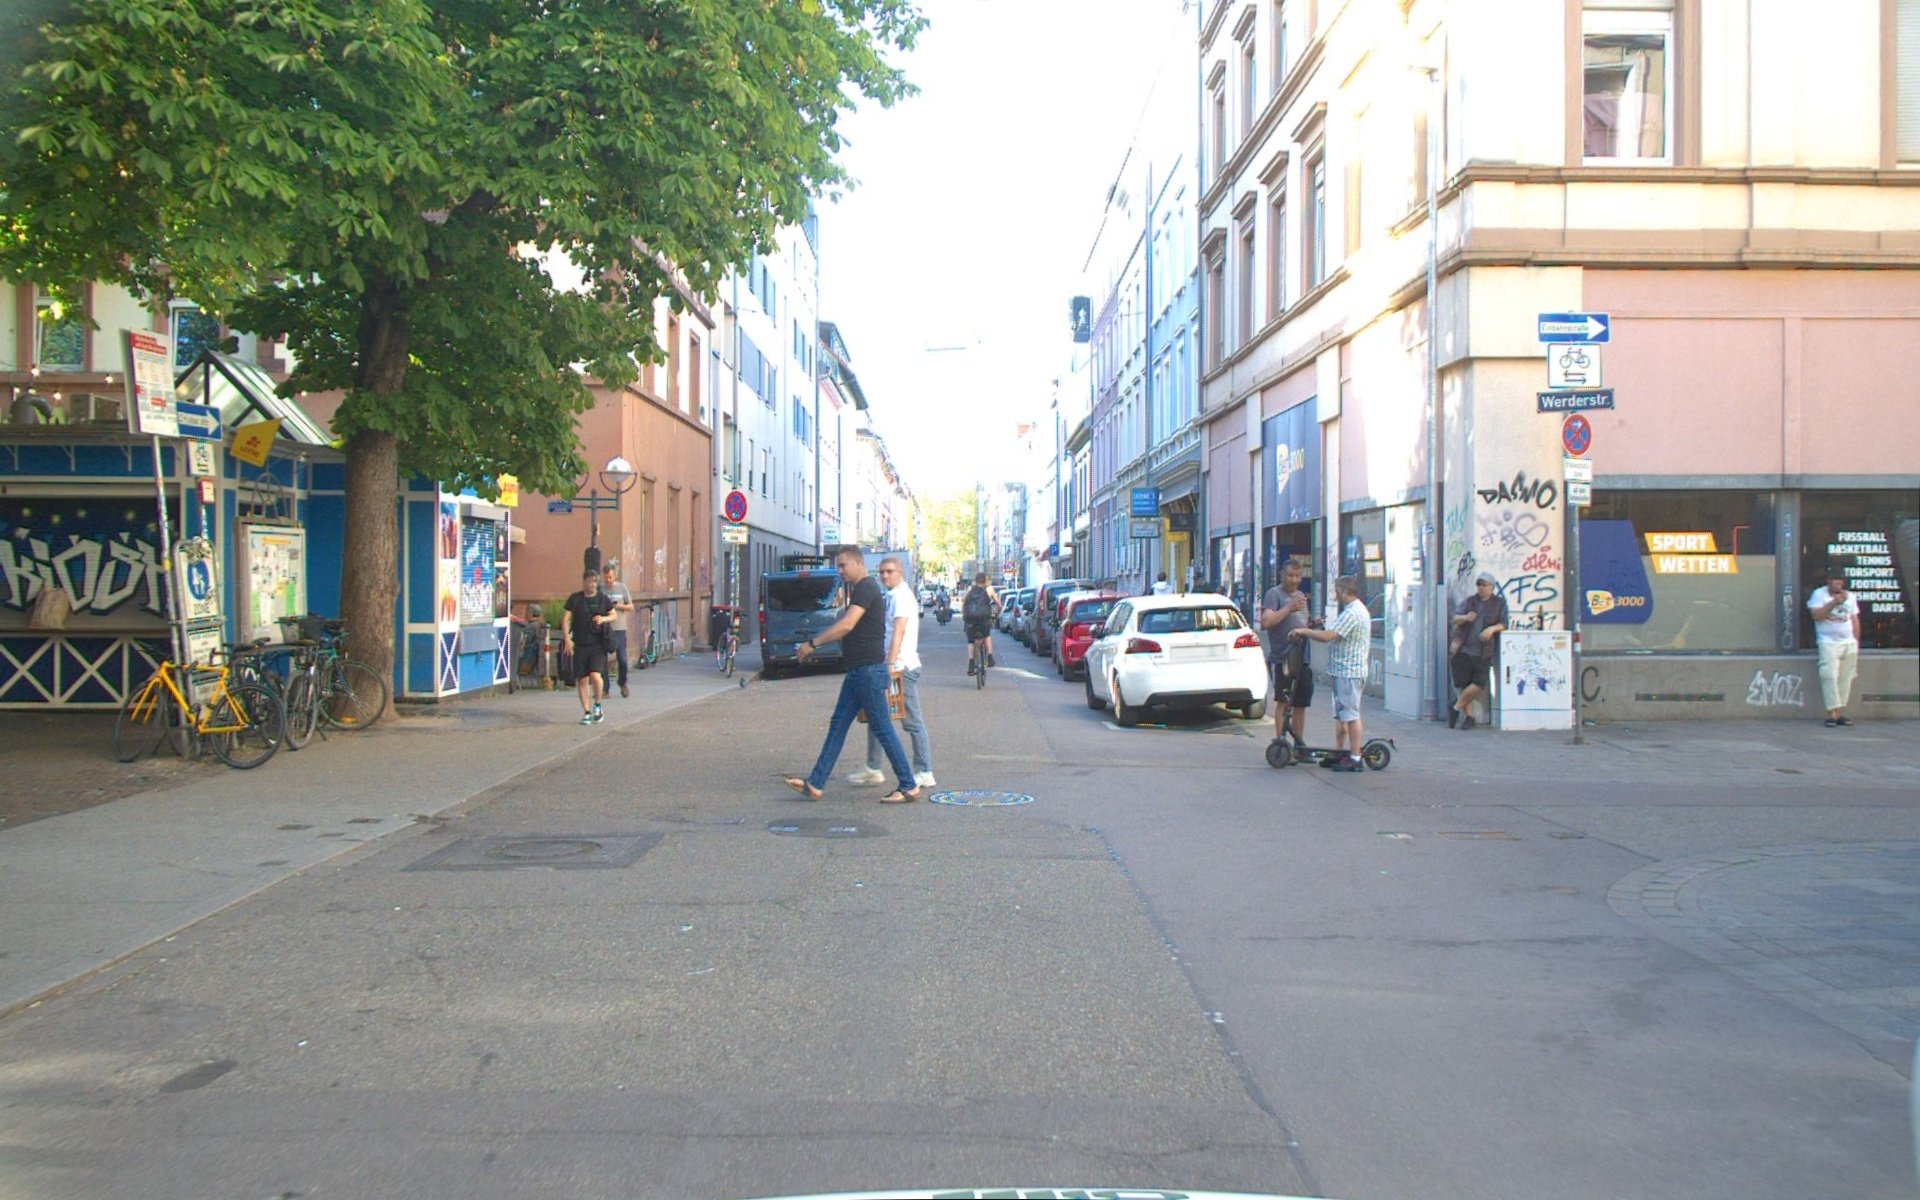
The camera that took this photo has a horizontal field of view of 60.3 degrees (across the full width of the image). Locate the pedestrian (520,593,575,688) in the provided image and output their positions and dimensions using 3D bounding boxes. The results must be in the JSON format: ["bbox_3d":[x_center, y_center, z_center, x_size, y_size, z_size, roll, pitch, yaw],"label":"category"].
[{"bbox_3d":[-6.488,0.632,26.024,0.691,1.470,0.617,1,-1,-2],"label":"pedestrian"}]

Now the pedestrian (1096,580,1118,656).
[{"bbox_3d":[3.394,0.416,38.214,0.432,1.734,0.654,1,-1,0],"label":"pedestrian"}]

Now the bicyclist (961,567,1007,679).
[{"bbox_3d":[0.370,0.351,25.903,0.654,1.706,1.097,1,0,-1],"label":"bicyclist"}]

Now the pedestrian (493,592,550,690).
[{"bbox_3d":[-6.720,0.620,25.382,0.691,1.470,0.617,1,-1,-2],"label":"pedestrian"}]

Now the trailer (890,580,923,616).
[{"bbox_3d":[-3.235,-0.103,100.324,1.843,2.129,3.736,-1,0,-1],"label":"trailer"}]

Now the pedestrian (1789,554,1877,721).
[{"bbox_3d":[9.372,0.396,17.771,0.676,1.756,0.475,1,-1,-1],"label":"pedestrian"}]

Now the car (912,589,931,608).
[{"bbox_3d":[-3.571,-0.164,153.739,1.714,1.713,3.795,-1,0,-1],"label":"car"}]

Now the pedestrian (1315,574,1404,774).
[{"bbox_3d":[3.428,0.620,14.185,0.519,1.667,0.561,0,-1,44],"label":"pedestrian"}]

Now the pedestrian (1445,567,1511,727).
[{"bbox_3d":[5.566,0.488,17.770,0.588,1.678,0.464,1,2,31],"label":"pedestrian"}]

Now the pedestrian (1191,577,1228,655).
[{"bbox_3d":[5.067,0.328,33.575,0.576,1.556,0.658,1,-1,-6],"label":"pedestrian"}]

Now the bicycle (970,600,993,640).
[{"bbox_3d":[0.641,0.583,49.472,0.635,1.149,2.135,1,0,-1],"label":"bicycle"}]

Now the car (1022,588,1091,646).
[{"bbox_3d":[2.667,0.451,46.319,1.521,1.537,3.609,1,0,-3],"label":"car"}]

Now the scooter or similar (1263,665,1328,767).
[{"bbox_3d":[2.987,1.019,14.783,0.385,0.843,0.926,1,0,0],"label":"scooter or similar"}]

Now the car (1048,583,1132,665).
[{"bbox_3d":[2.731,0.497,35.297,1.537,1.584,3.314,-3,0,1],"label":"car"}]

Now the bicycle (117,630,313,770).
[{"bbox_3d":[-6.197,0.817,13.755,1.540,1.101,0.347,1,-1,10],"label":"bicycle"}]

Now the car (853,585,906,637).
[{"bbox_3d":[-2.890,0.367,59.948,1.682,1.679,4.245,-3,1,-1],"label":"car"}]

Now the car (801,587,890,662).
[{"bbox_3d":[-2.594,0.552,38.228,1.715,1.548,3.868,-3,0,0],"label":"car"}]

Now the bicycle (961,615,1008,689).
[{"bbox_3d":[0.368,0.798,25.910,0.663,1.093,1.941,1,0,-1],"label":"bicycle"}]

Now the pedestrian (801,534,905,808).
[{"bbox_3d":[-0.744,0.485,11.752,0.680,1.857,1.003,1,0,-2],"label":"pedestrian"}]

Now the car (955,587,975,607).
[{"bbox_3d":[0.369,-0.231,130.753,1.578,1.587,3.610,0,0,-1],"label":"car"}]

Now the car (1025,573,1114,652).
[{"bbox_3d":[2.673,0.305,41.163,1.860,1.825,4.314,1,0,-1],"label":"car"}]

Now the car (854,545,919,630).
[{"bbox_3d":[-3.078,-0.496,70.856,2.295,3.349,7.154,-2,0,0],"label":"car"}]

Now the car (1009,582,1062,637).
[{"bbox_3d":[2.464,0.311,54.493,1.525,1.742,3.558,1,0,-1],"label":"car"}]

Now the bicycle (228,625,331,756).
[{"bbox_3d":[-6.157,0.795,15.034,0.286,1.064,1.578,1,1,0],"label":"bicycle"}]

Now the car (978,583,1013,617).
[{"bbox_3d":[2.059,0.001,97.067,1.715,1.911,3.970,-1,0,-3],"label":"car"}]

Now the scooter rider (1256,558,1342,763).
[{"bbox_3d":[3.070,0.534,14.982,0.554,1.809,0.609,0,-1,34],"label":"scooter rider"}]

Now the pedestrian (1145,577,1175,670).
[{"bbox_3d":[3.861,0.445,31.860,0.549,1.771,0.428,1,-1,7],"label":"pedestrian"}]

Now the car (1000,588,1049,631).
[{"bbox_3d":[2.517,0.383,64.964,1.652,1.570,4.045,-2,0,-1],"label":"car"}]

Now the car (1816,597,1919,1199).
[{"bbox_3d":[2.955,0.746,2.147,1.655,1.488,3.638,1,0,-3],"label":"car"}]

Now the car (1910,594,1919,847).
[{"bbox_3d":[7.488,0.715,9.111,3.500,1.512,1.789,0,0,-1],"label":"car"}]

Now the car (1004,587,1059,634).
[{"bbox_3d":[2.525,0.380,59.286,1.662,1.570,4.628,-2,0,-1],"label":"car"}]

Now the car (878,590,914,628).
[{"bbox_3d":[-3.256,0.473,84.876,1.717,1.848,4.077,-2,0,-1],"label":"car"}]

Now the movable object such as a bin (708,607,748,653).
[{"bbox_3d":[-5.589,0.708,39.843,0.743,1.085,0.652,1,0,19],"label":"movable object such as a bin"}]

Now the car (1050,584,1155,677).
[{"bbox_3d":[2.589,0.534,30.641,1.574,1.600,3.553,1,0,-1],"label":"car"}]

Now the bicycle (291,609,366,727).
[{"bbox_3d":[-6.792,0.702,17.856,0.488,1.151,2.030,1,1,-14],"label":"bicycle"}]

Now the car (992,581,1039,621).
[{"bbox_3d":[2.427,0.032,73.326,1.879,1.735,4.365,0,0,-1],"label":"car"}]

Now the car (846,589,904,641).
[{"bbox_3d":[-2.756,0.458,54.463,1.682,1.504,4.498,-3,1,-1],"label":"car"}]

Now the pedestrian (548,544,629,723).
[{"bbox_3d":[-4.043,0.356,18.047,0.702,1.906,0.720,1,-1,-1],"label":"pedestrian"}]

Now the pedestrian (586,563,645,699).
[{"bbox_3d":[-4.861,0.432,23.347,0.633,1.865,0.697,2,-1,-1],"label":"pedestrian"}]

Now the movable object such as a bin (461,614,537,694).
[{"bbox_3d":[-6.586,0.762,23.652,0.852,1.105,0.774,1,0,0],"label":"movable object such as a bin"}]

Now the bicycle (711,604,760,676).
[{"bbox_3d":[-4.073,0.703,29.890,0.541,1.238,1.978,1,0,-17],"label":"bicycle"}]

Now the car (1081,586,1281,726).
[{"bbox_3d":[2.635,0.637,20.610,1.751,1.542,4.134,1,0,-3],"label":"car"}]

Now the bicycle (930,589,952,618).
[{"bbox_3d":[-0.914,0.171,79.215,0.957,1.337,2.555,-1,0,1],"label":"bicycle"}]

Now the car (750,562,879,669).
[{"bbox_3d":[-2.782,0.257,32.837,1.979,1.912,5.297,1,1,1],"label":"car"}]

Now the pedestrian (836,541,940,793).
[{"bbox_3d":[-0.546,0.499,12.666,0.746,1.867,0.688,1,-1,-2],"label":"pedestrian"}]

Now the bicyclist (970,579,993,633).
[{"bbox_3d":[0.639,0.167,49.537,0.657,1.595,0.716,1,0,-1],"label":"bicyclist"}]

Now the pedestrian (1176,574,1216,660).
[{"bbox_3d":[4.900,0.350,34.324,0.617,1.771,0.656,1,-1,-13],"label":"pedestrian"}]

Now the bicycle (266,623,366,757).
[{"bbox_3d":[-5.840,0.787,15.058,0.286,1.101,1.578,1,1,0],"label":"bicycle"}]

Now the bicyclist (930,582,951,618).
[{"bbox_3d":[-0.933,-0.017,78.721,0.931,1.656,0.953,-2,0,0],"label":"bicyclist"}]

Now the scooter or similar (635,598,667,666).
[{"bbox_3d":[-5.821,0.591,31.210,0.340,1.238,1.391,1,0,-1],"label":"scooter or similar"}]
